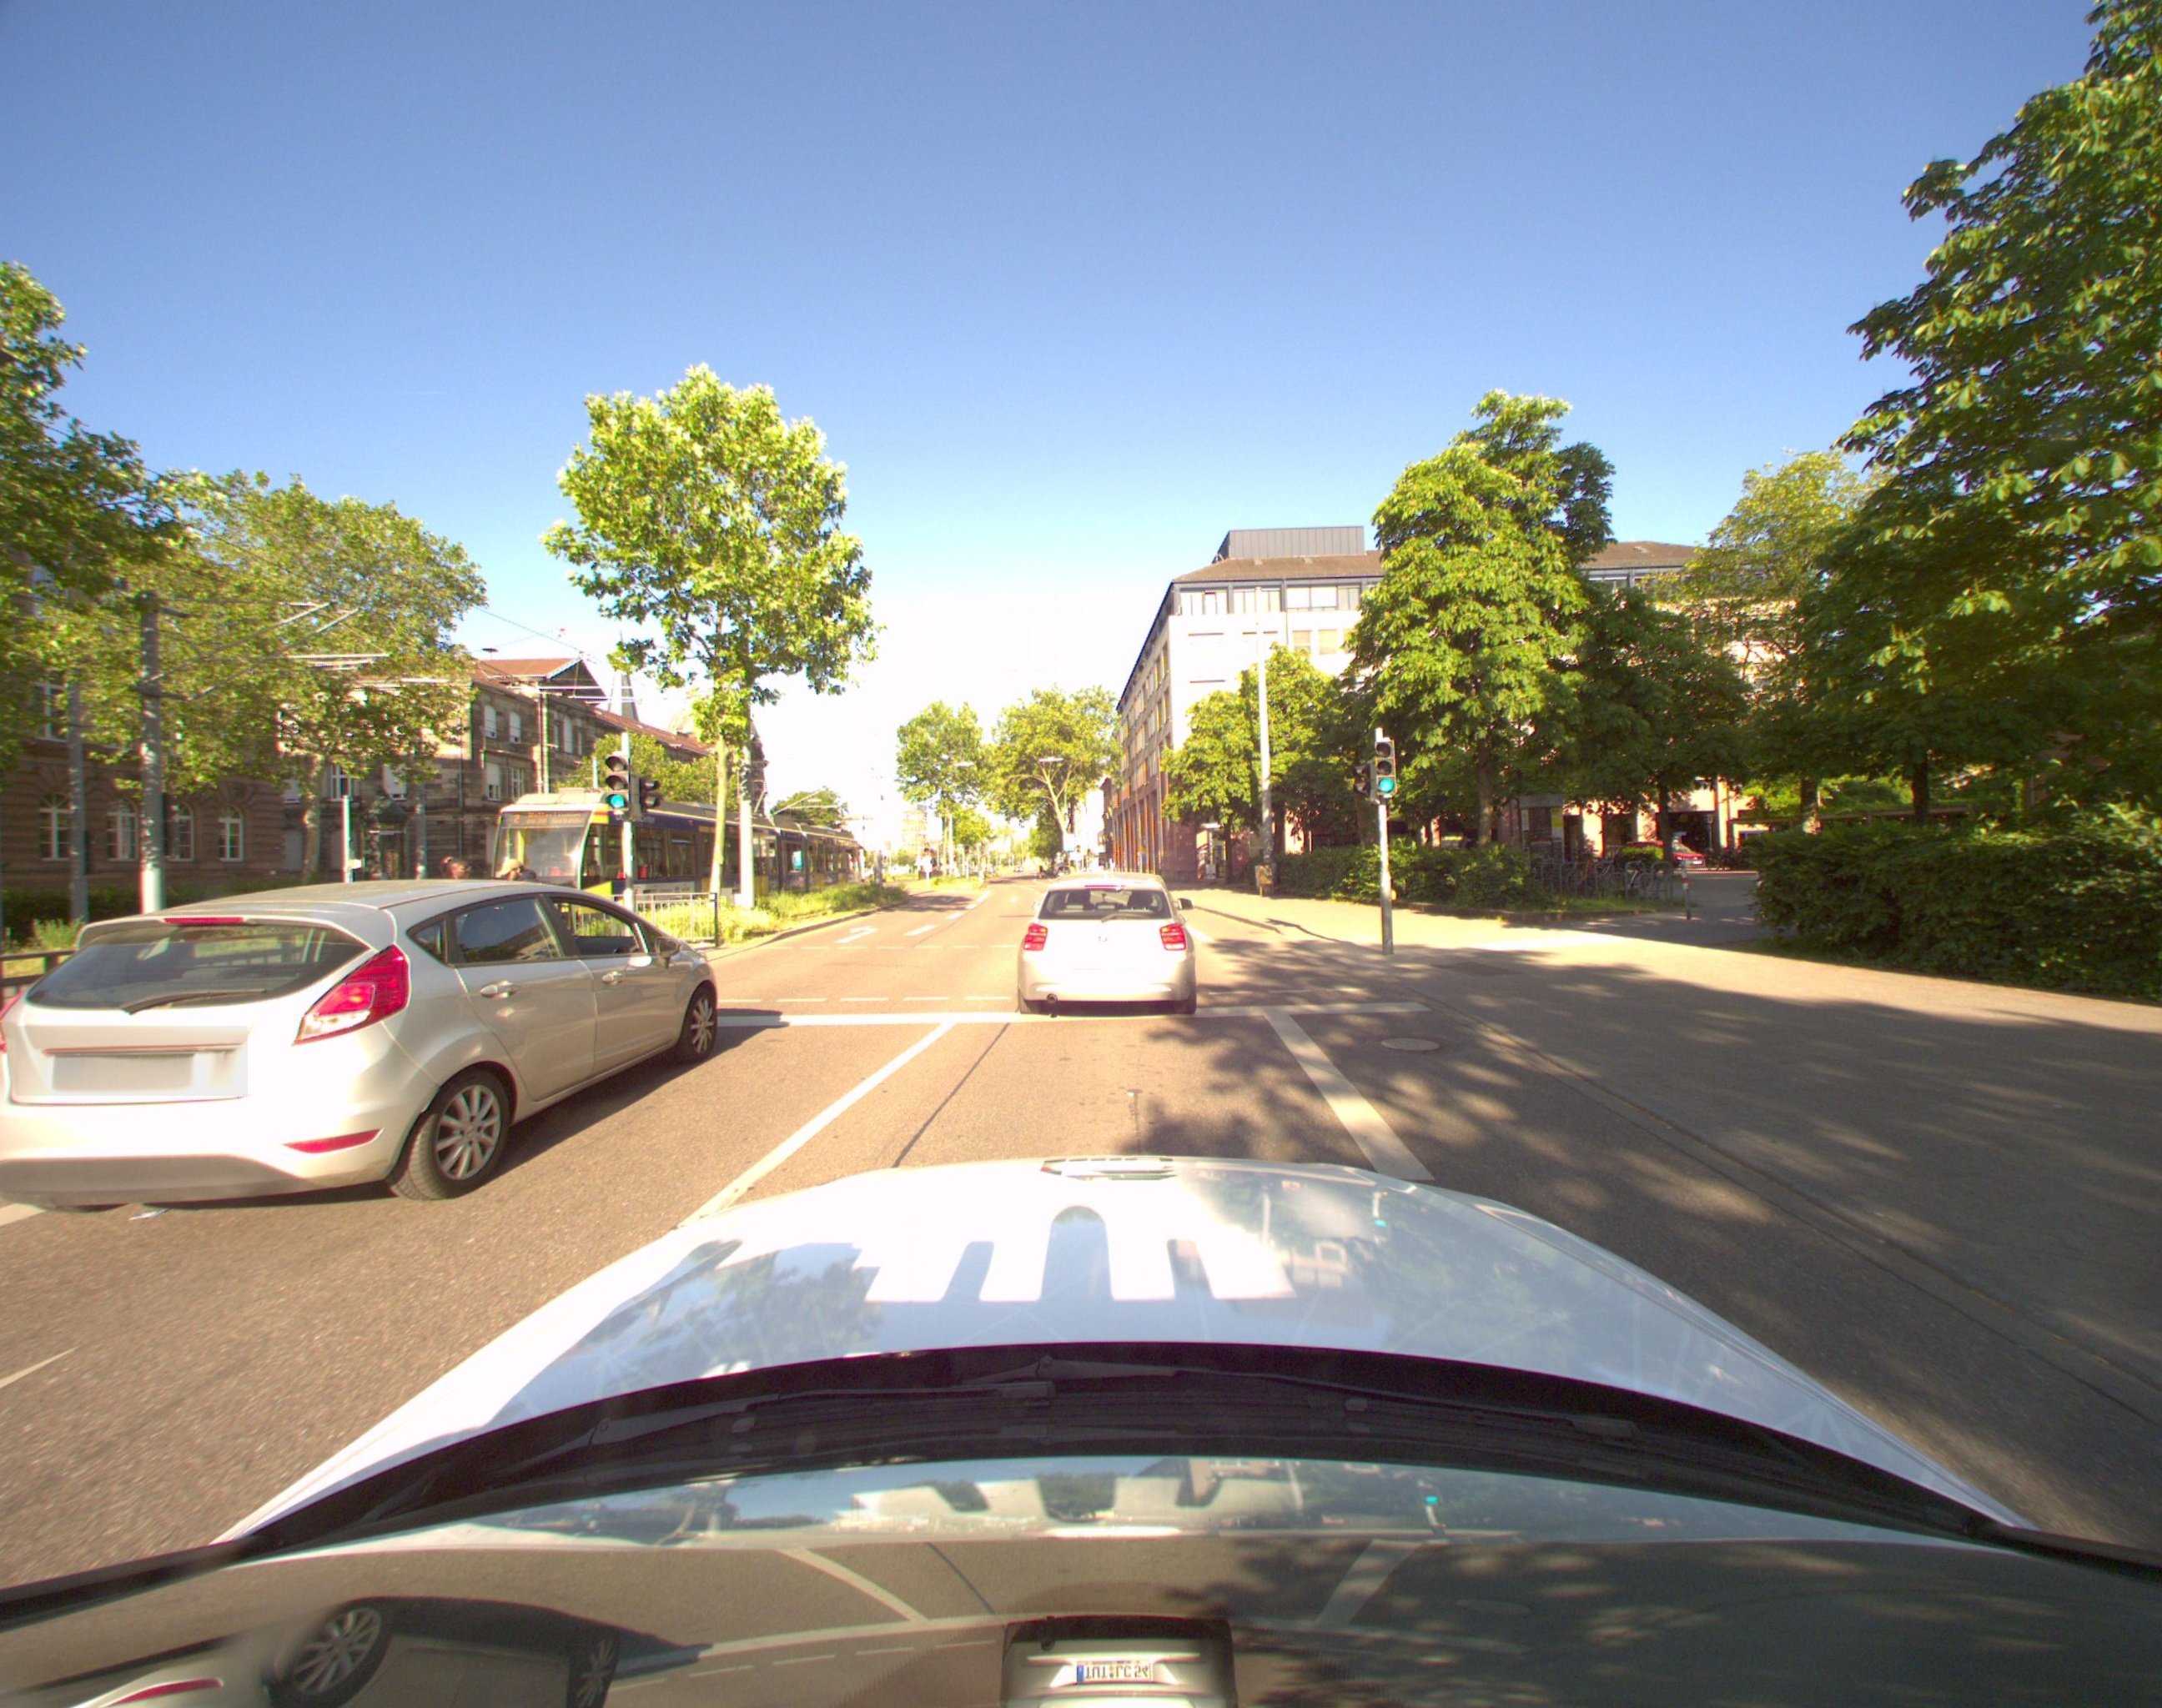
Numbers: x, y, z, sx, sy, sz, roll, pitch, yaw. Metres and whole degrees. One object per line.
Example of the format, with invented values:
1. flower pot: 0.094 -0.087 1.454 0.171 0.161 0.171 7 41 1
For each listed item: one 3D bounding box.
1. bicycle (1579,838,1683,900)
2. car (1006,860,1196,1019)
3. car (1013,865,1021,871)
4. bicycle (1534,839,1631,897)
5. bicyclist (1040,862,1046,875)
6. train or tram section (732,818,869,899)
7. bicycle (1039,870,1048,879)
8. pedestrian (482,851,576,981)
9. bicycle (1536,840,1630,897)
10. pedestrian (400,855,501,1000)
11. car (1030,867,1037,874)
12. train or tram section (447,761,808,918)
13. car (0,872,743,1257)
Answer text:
1. bicycle: 12.888 0.354 19.108 1.990 1.314 0.574 -3 -1 0
2. car: 0.331 0.797 9.319 1.722 1.390 3.845 0 0 5
3. car: -16.910 3.772 216.275 1.991 1.486 3.992 -2 -1 -6
4. bicycle: 12.522 0.351 20.361 1.990 1.314 0.574 -3 -1 0
5. bicyclist: -4.757 1.824 102.042 0.655 1.657 0.766 -3 -1 6
6. train or tram section: -12.972 0.377 39.360 2.909 3.260 13.092 0 -2 -4
7. bicycle: -4.677 2.586 102.101 0.827 1.041 1.878 -3 -1 6
8. pedestrian: -7.298 0.784 10.773 0.949 1.629 0.621 0 -2 -42
9. bicycle: 12.909 0.370 20.978 1.990 1.314 0.574 -3 -1 0
10. pedestrian: -7.112 0.799 9.214 0.630 1.557 0.645 -2 -1 -7
11. car: -14.494 5.033 248.637 1.986 2.014 4.001 0 -2 2
12. train or tram section: -12.056 -0.074 24.887 2.908 3.260 15.871 0 -2 -3
13. car: -3.586 0.831 4.899 1.656 1.409 3.629 -1 -1 -2
